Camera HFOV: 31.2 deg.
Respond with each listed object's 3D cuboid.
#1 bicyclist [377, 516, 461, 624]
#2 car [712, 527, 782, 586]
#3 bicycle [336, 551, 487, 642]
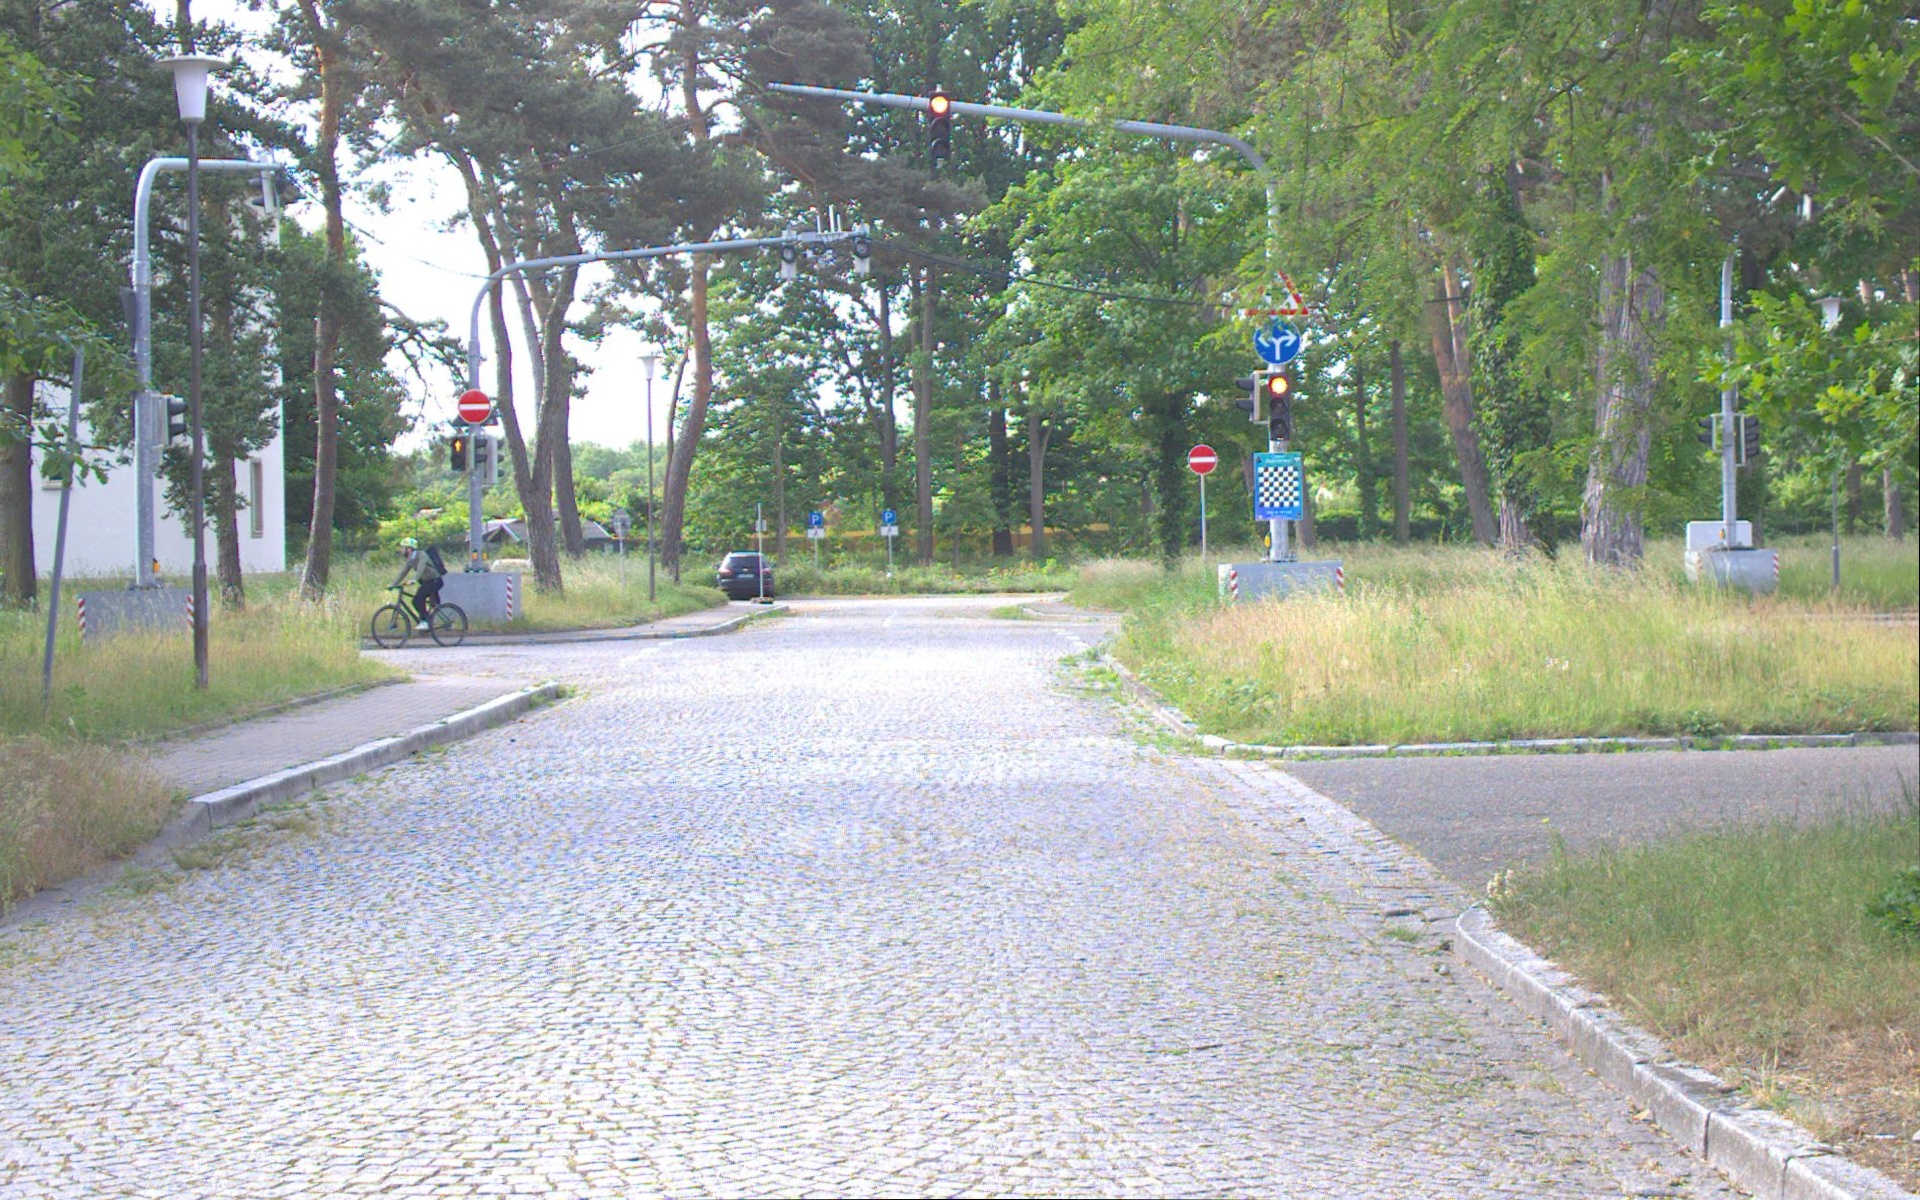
[{"bbox_3d":[-8.607,-0.480,54.692,0.921,1.691,0.956,-1,0,-41],"label":"bicyclist"},{"bbox_3d":[-6.867,-1.419,111.306,2.056,1.840,4.000,-1,1,-1],"label":"car"},{"bbox_3d":[-8.699,-0.063,54.604,2.179,1.382,0.938,-2,1,-41],"label":"bicycle"}]
